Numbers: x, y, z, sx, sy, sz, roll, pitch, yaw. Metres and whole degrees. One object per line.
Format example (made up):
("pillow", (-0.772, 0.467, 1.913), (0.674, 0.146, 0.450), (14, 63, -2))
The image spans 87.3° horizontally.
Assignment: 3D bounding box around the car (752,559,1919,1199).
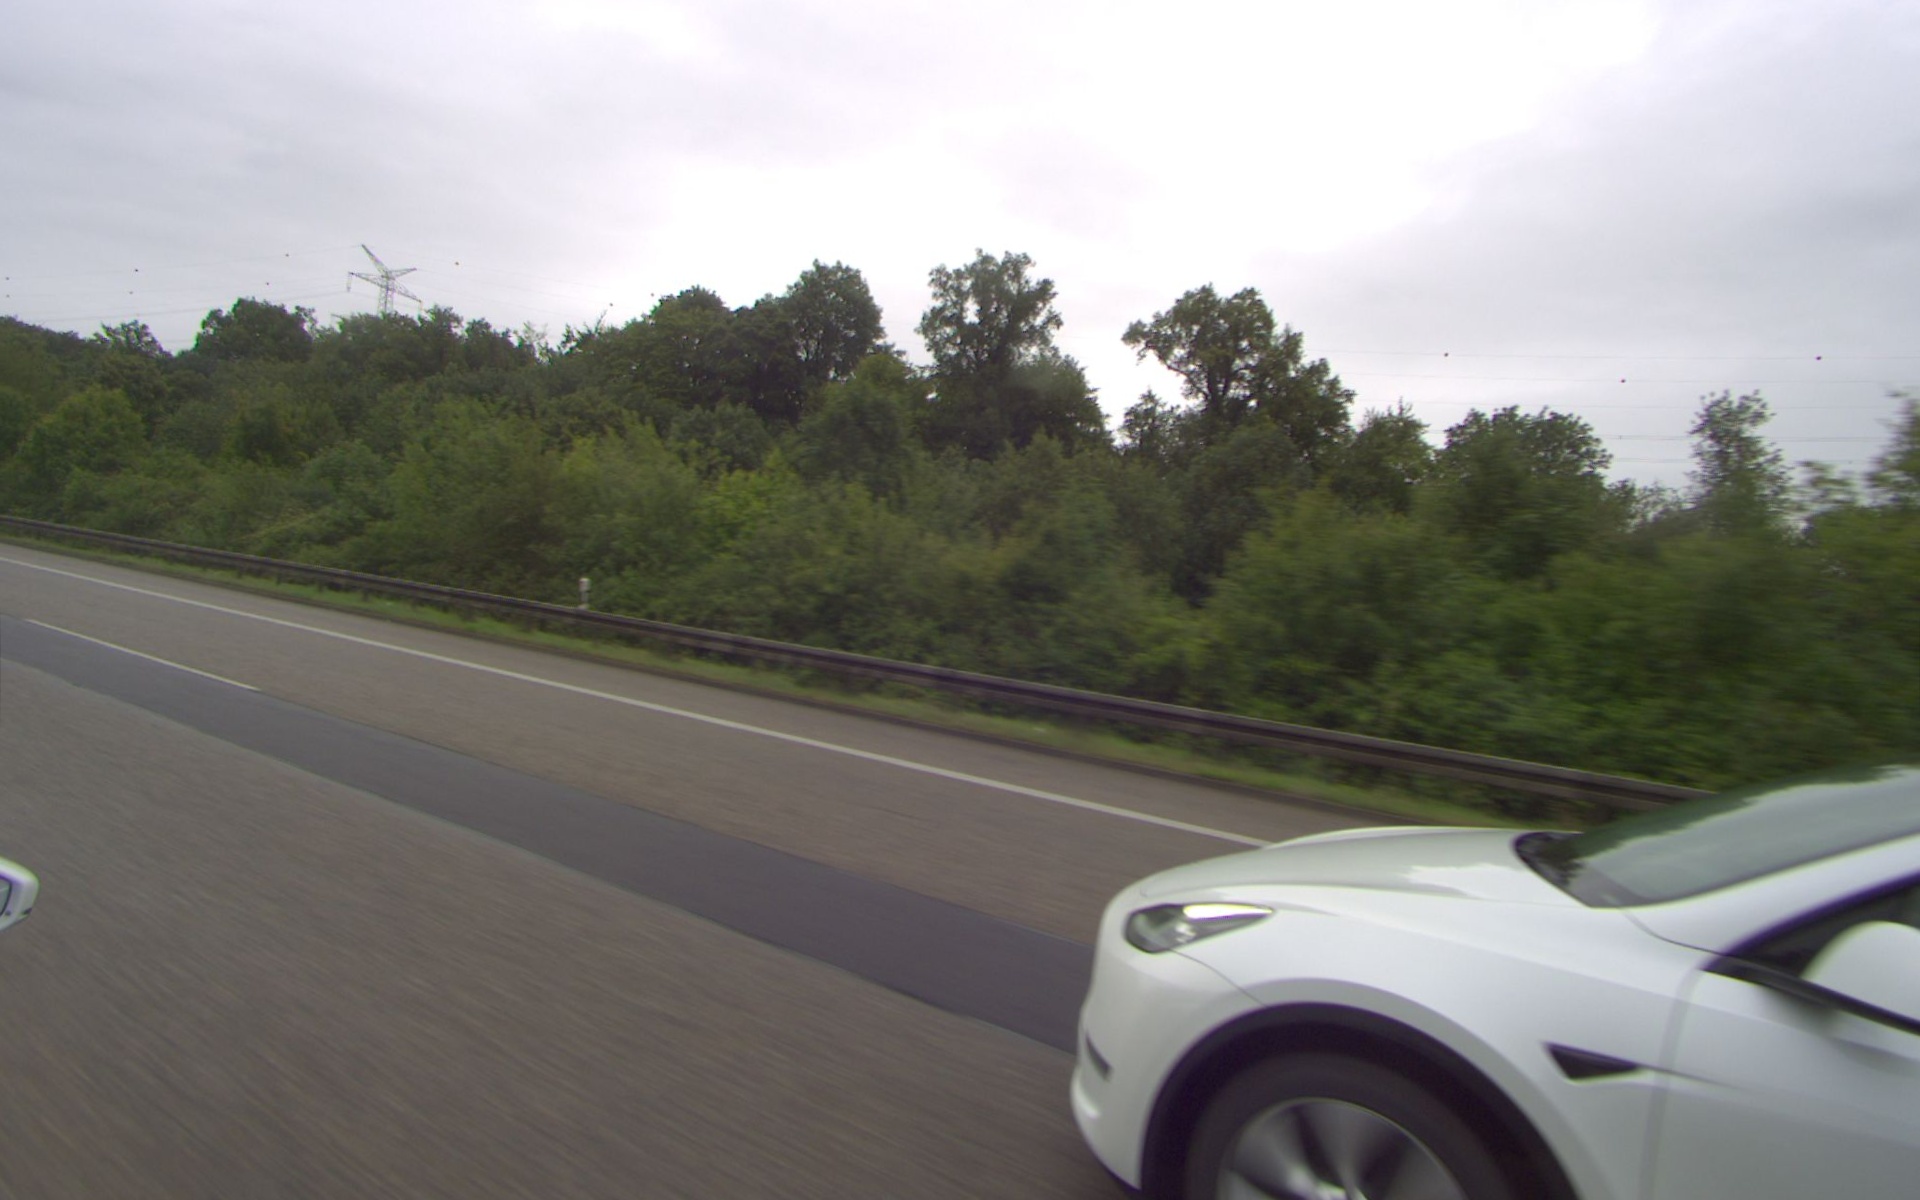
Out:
("car", (2.069, 0.996, 2.318), (4.880, 1.586, 1.864), (7, -1, 31))
